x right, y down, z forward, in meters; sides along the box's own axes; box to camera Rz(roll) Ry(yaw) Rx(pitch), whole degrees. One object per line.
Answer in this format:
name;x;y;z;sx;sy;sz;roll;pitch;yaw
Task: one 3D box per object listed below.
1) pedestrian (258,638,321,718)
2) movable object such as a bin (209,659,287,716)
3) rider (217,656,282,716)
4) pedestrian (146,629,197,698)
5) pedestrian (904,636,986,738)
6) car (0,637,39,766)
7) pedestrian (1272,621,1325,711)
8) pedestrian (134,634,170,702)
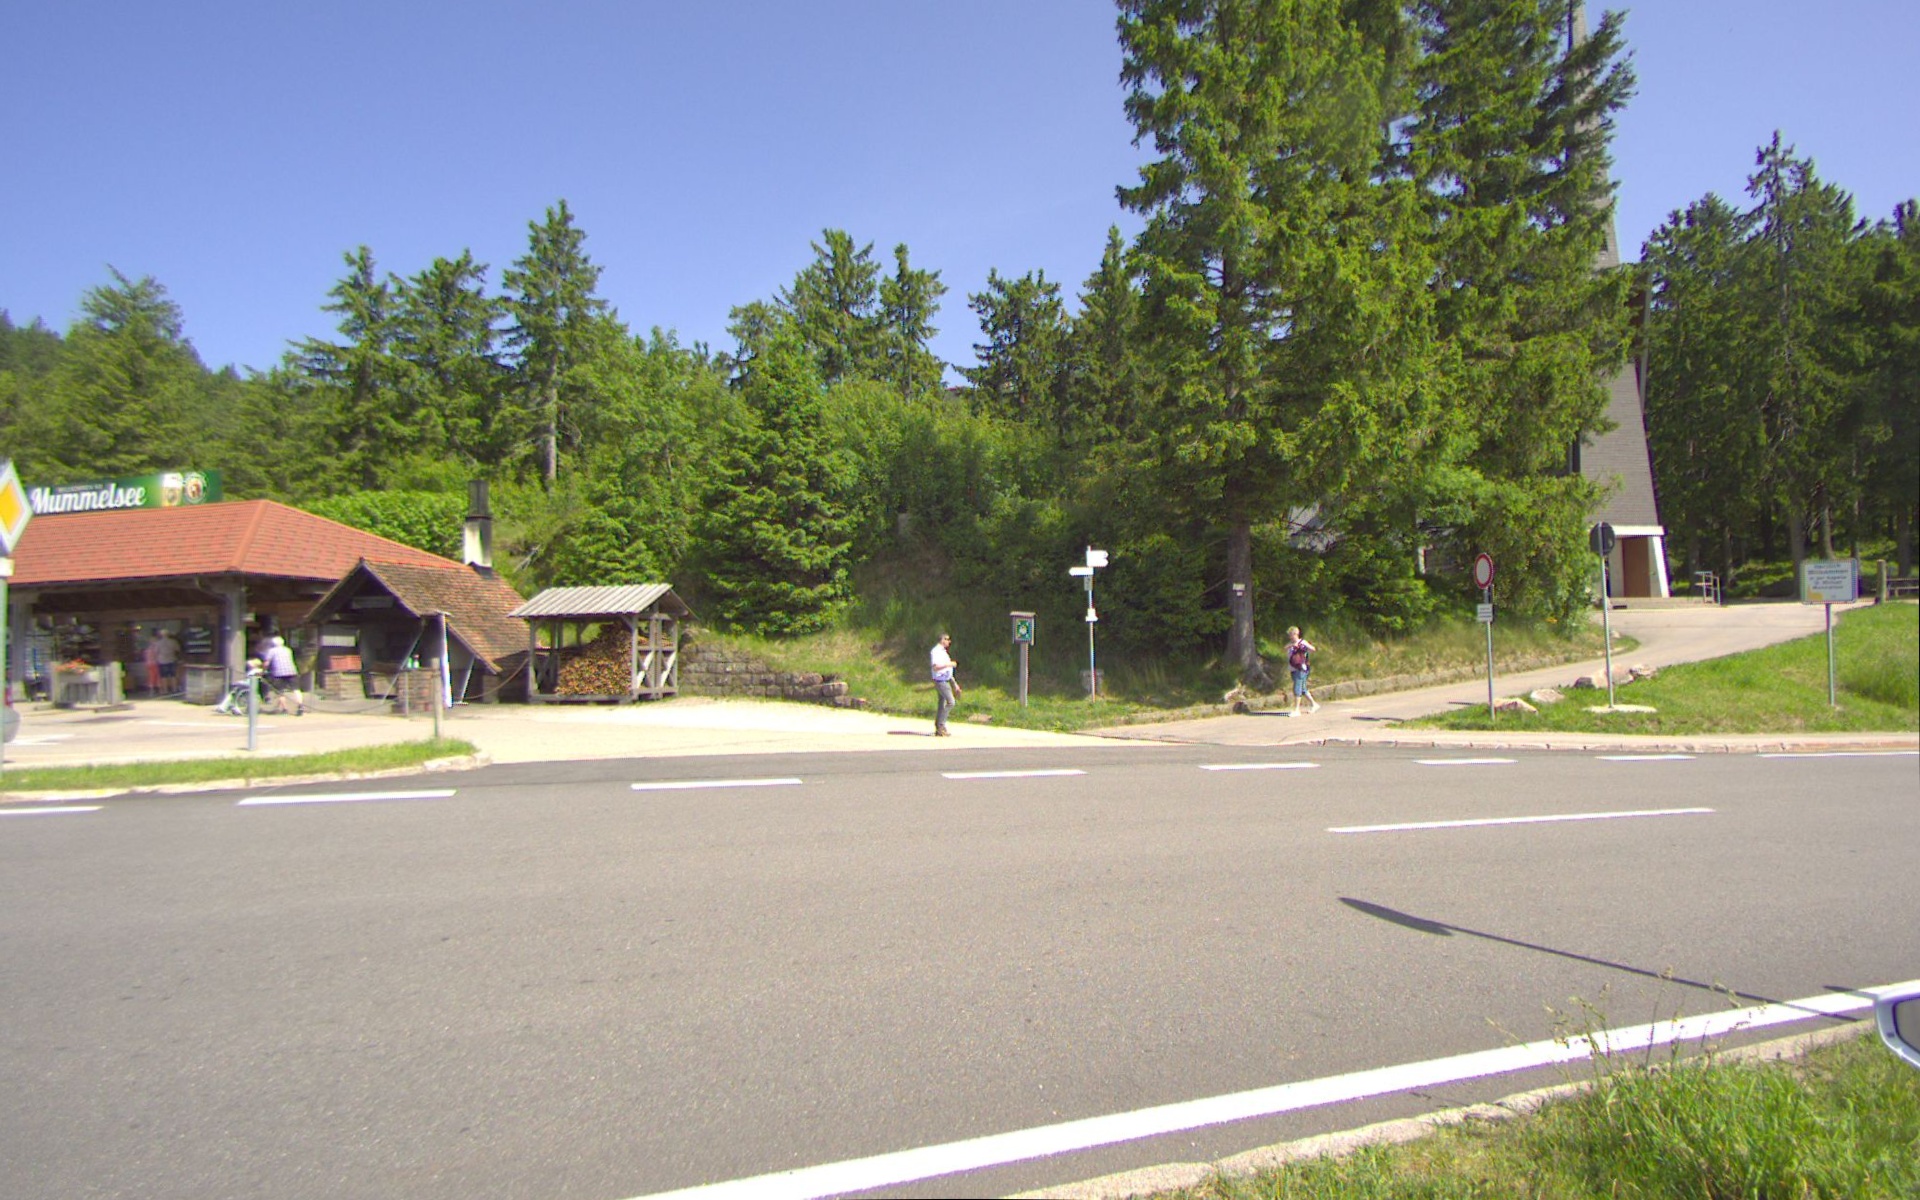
pedestrian;-14.760;1.706;22.122;0.789;1.721;0.838;-1;-3;29
movable object such as a bin;-15.880;1.926;22.402;1.195;1.204;0.982;-1;-3;29
rider;-15.803;1.889;22.353;0.893;1.291;0.838;-1;-3;29
pedestrian;-20.567;1.644;26.203;0.789;1.759;0.748;-1;-3;29
pedestrian;-0.259;1.505;17.607;1.140;1.720;0.979;-1;-3;22
car;-12.252;1.042;9.805;1.688;1.449;4.504;-1;-4;20
pedestrian;6.575;1.277;19.521;0.673;1.703;0.718;1;-3;-23
pedestrian;-21.341;1.792;26.547;0.548;1.759;0.668;2;-3;-26
